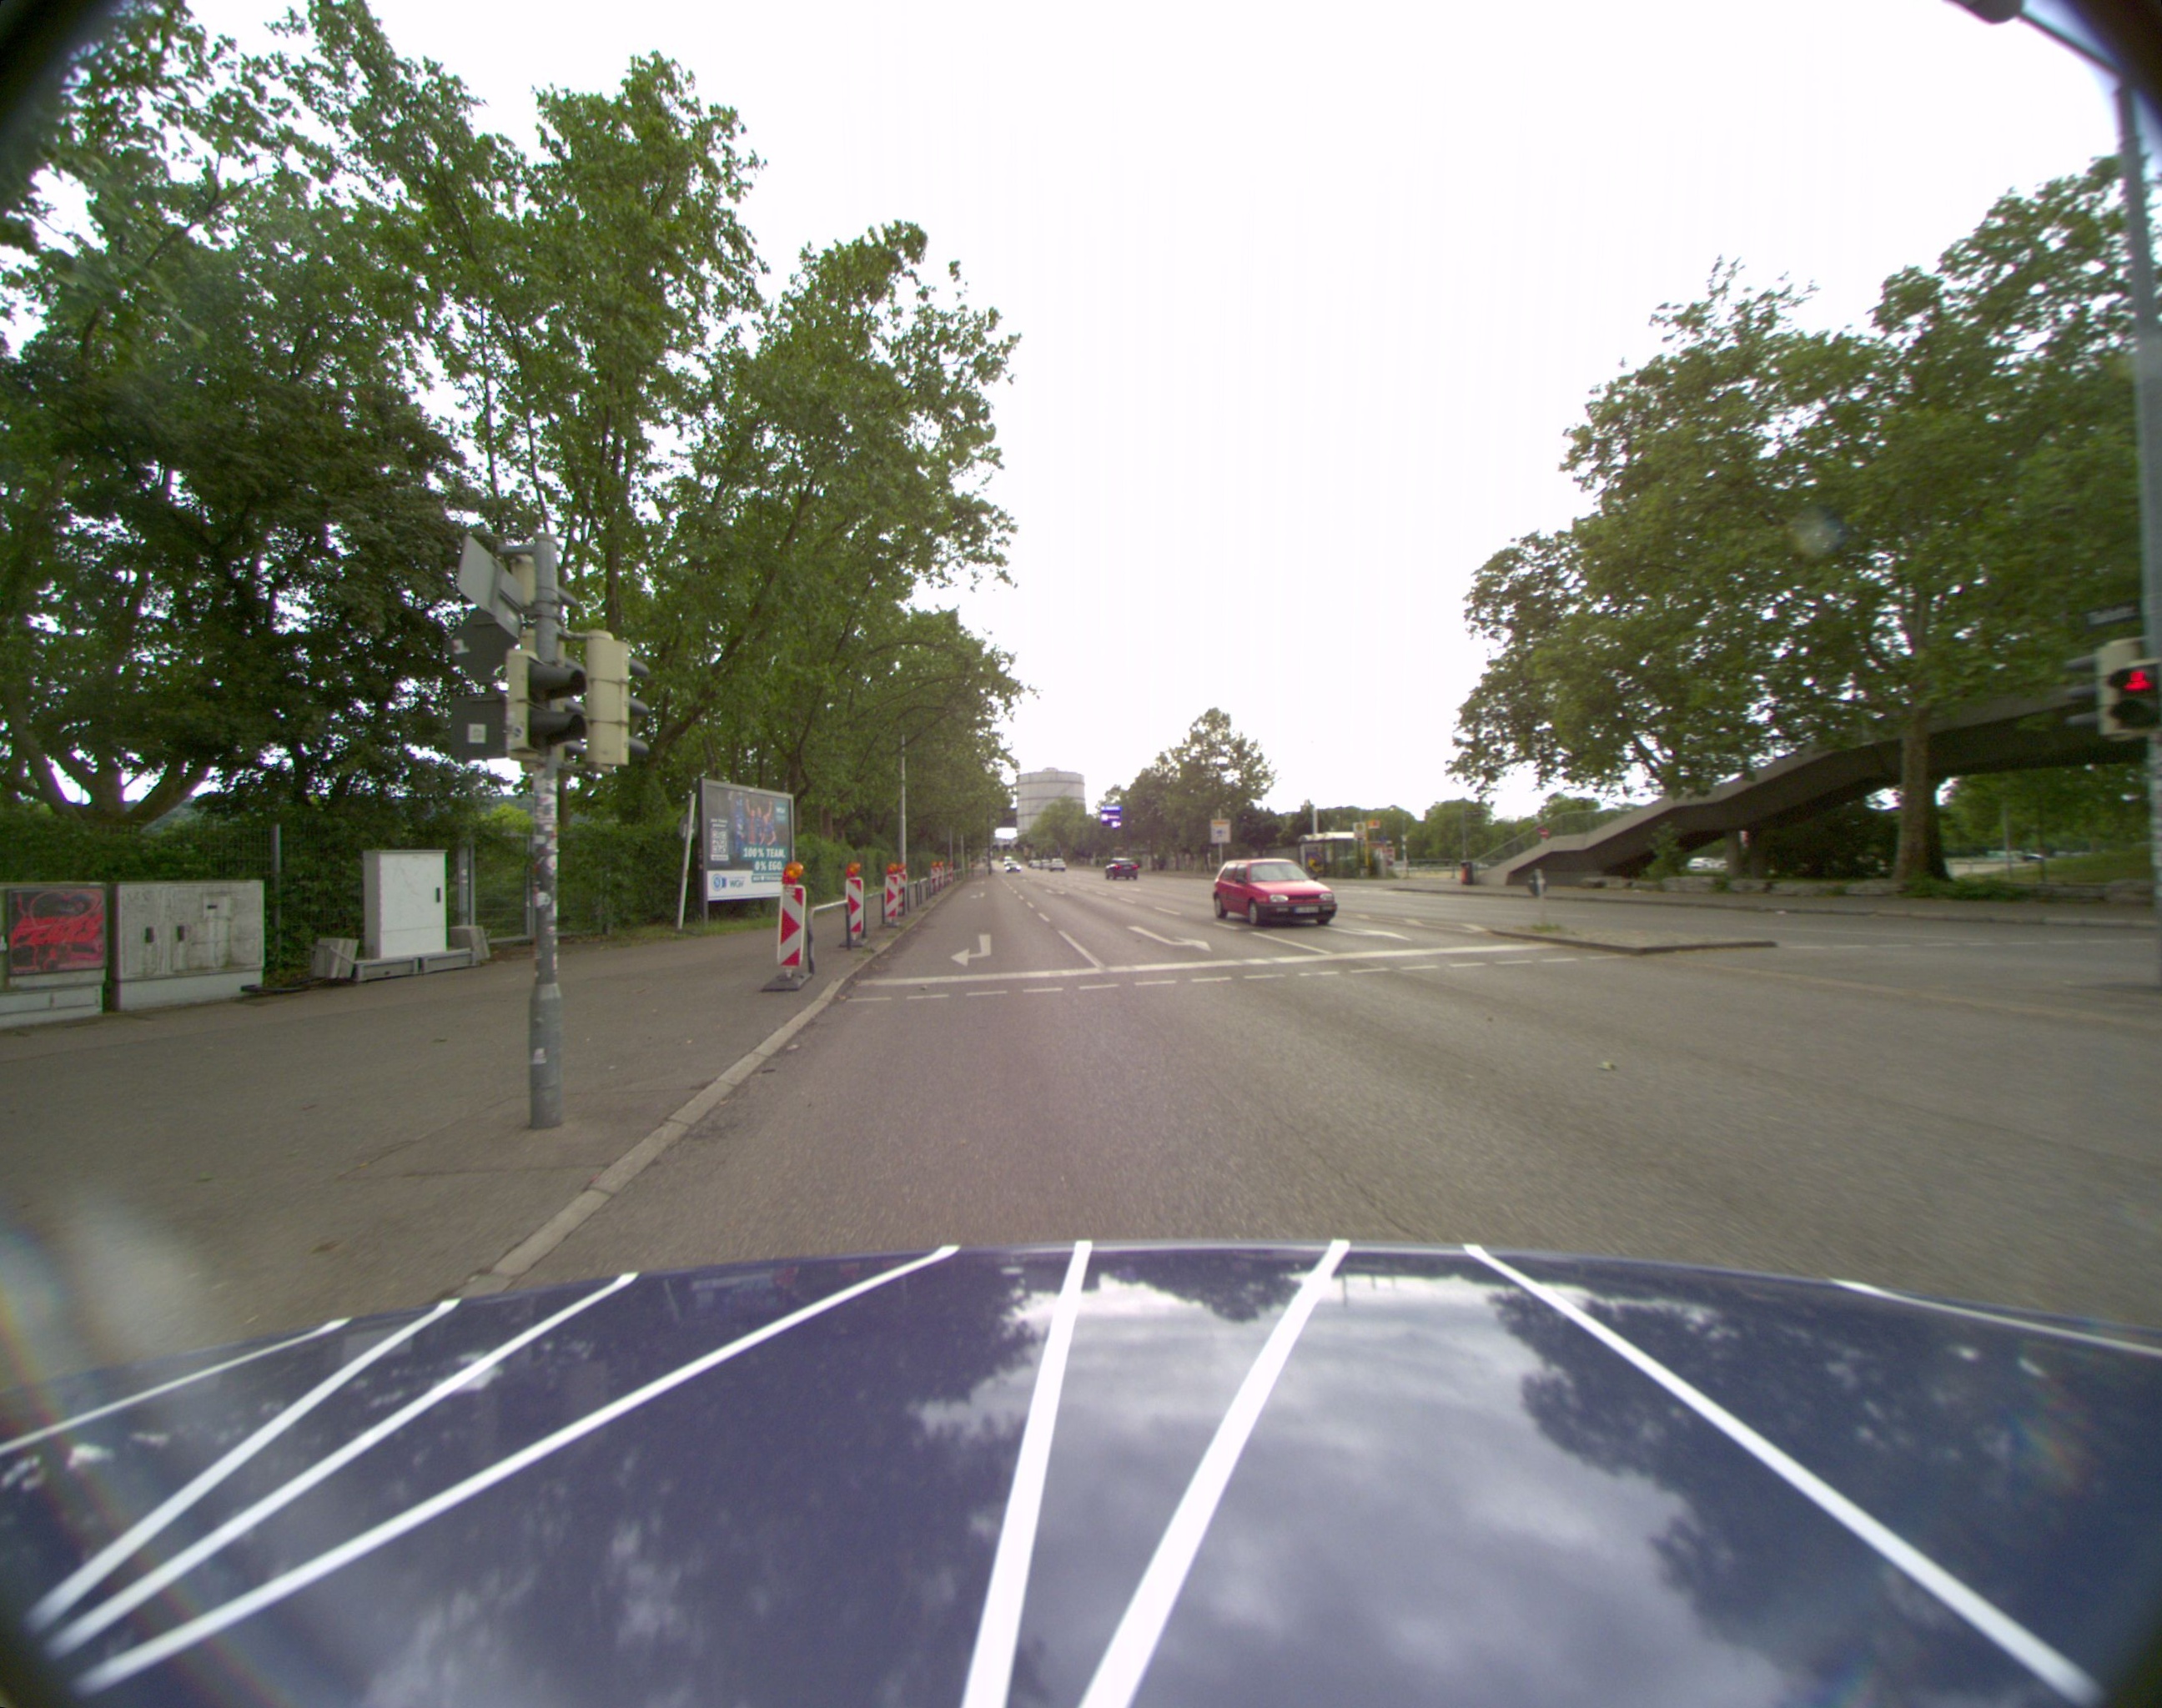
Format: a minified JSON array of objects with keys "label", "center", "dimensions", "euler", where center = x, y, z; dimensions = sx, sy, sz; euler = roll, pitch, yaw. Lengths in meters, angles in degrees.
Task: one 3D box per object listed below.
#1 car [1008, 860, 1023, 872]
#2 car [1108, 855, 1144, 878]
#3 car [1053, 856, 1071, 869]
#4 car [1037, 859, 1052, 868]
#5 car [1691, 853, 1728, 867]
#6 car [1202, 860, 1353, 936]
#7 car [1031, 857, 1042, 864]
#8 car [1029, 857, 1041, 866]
[{"label":"car","center":[-8.875,1.605,103.085],"dimensions":[1.800,1.501,3.998],"euler":[-1,0,-7]},{"label":"car","center":[3.351,0.935,57.193],"dimensions":[1.775,1.596,4.425],"euler":[-2,0,-8]},{"label":"car","center":[-2.625,1.135,102.677],"dimensions":[2.000,1.734,4.592],"euler":[-1,0,-7]},{"label":"car","center":[-5.962,1.560,123.836],"dimensions":[2.000,1.516,3.997],"euler":[-1,0,-9]},{"label":"car","center":[87.804,0.809,106.129],"dimensions":[3.989,1.693,1.997],"euler":[-3,1,-14]},{"label":"car","center":[4.281,0.901,17.265],"dimensions":[1.834,1.443,4.074],"euler":[-2,0,-8]},{"label":"car","center":[-9.557,1.416,161.962],"dimensions":[2.000,1.521,4.723],"euler":[0,0,-8]},{"label":"car","center":[-8.493,1.427,140.250],"dimensions":[2.000,1.521,4.382],"euler":[-1,0,-7]}]
